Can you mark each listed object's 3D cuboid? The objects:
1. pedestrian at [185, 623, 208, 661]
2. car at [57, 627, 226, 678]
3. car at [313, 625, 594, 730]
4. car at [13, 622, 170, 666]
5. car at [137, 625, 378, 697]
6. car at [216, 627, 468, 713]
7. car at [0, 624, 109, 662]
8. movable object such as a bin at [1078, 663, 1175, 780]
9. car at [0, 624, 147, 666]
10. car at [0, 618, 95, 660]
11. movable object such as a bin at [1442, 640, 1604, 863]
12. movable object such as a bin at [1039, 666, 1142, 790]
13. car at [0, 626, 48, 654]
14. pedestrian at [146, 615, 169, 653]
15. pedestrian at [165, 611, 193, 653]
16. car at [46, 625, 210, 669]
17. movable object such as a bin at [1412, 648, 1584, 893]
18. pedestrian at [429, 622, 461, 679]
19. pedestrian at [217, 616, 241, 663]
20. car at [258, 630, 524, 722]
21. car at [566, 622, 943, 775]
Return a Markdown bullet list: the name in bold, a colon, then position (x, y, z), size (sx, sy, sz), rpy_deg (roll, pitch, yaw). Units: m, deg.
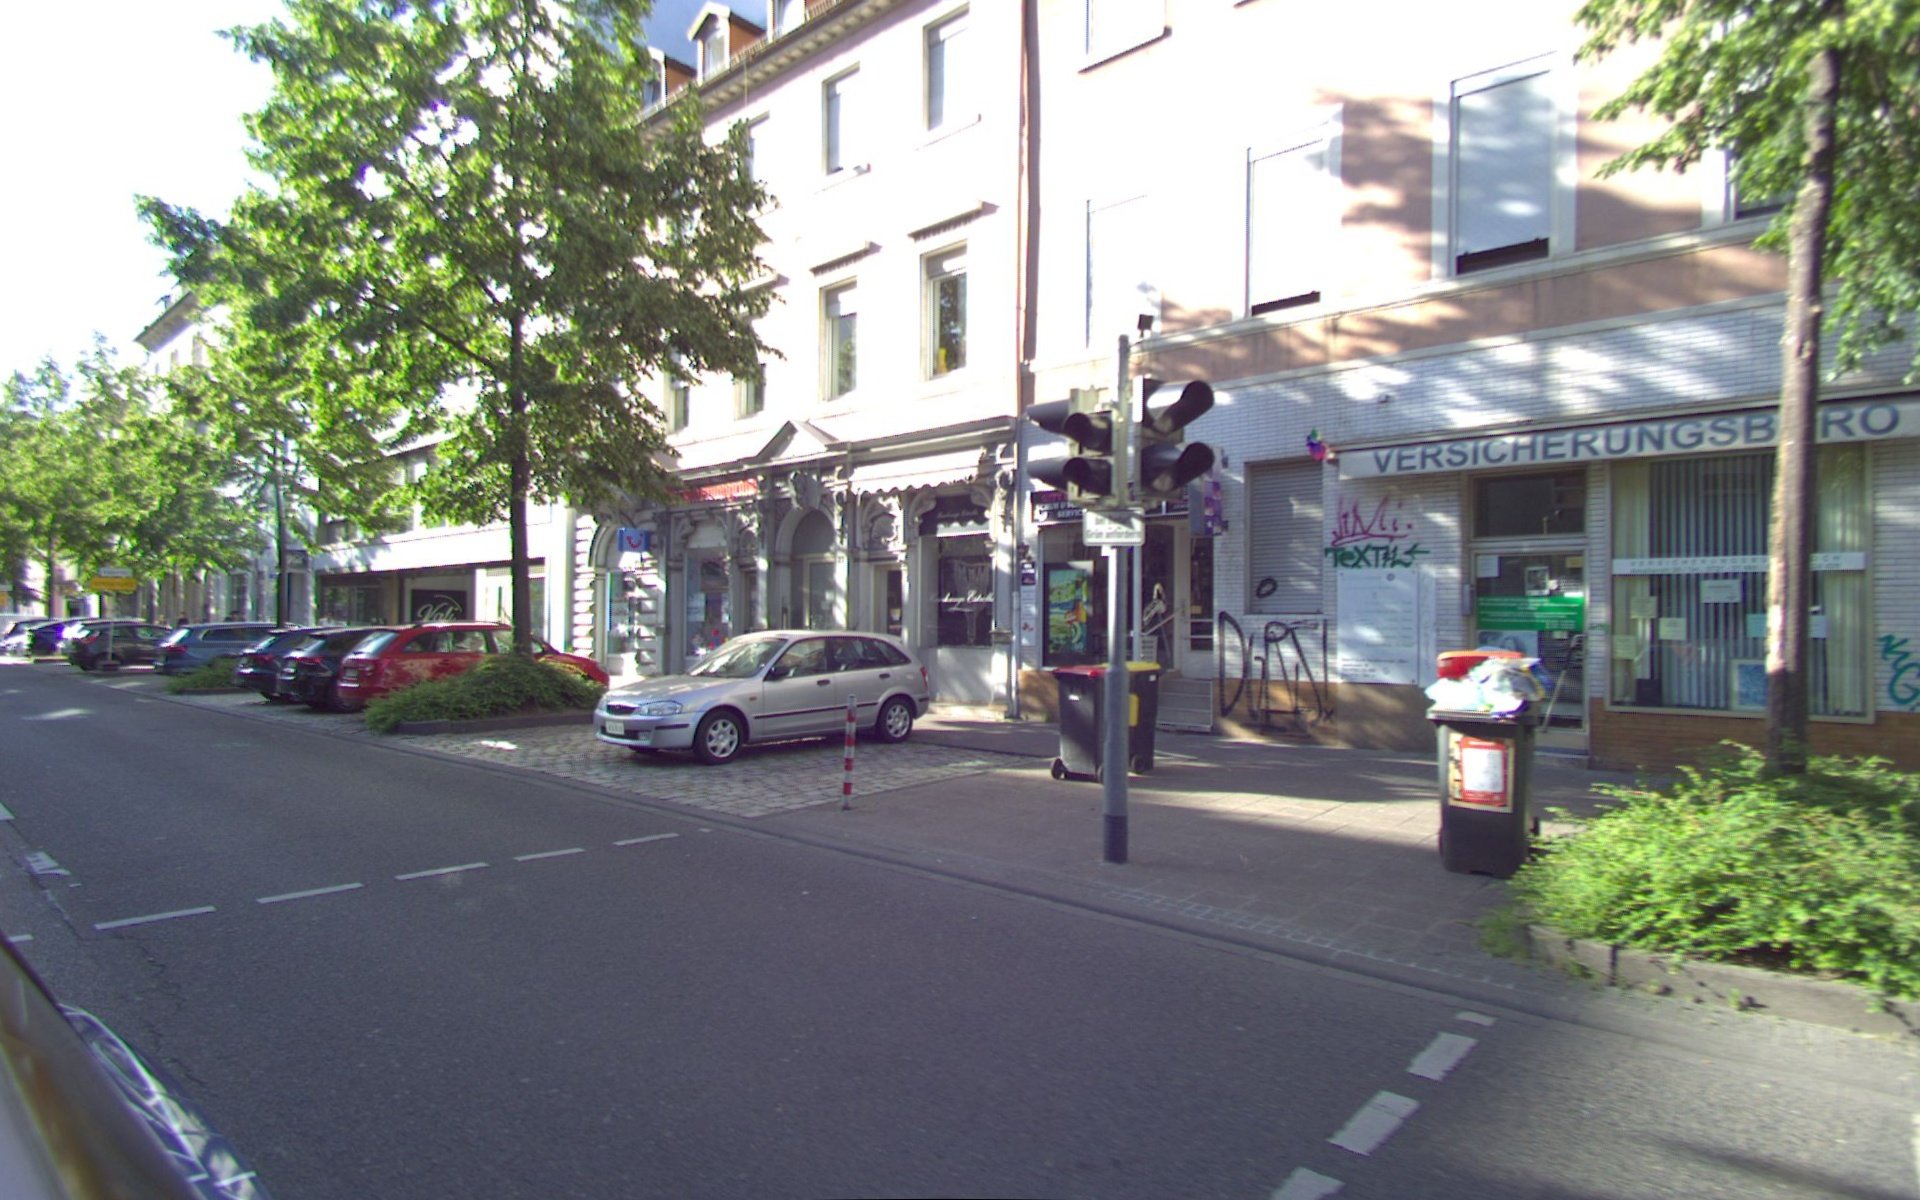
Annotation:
- **pedestrian**: position (-30.656, 1.672, 40.645), size (0.842, 1.505, 0.586), rpy_deg (-2, 0, 42)
- **car**: position (-25.121, 1.584, 31.164), size (1.778, 1.470, 3.744), rpy_deg (-2, -2, 37)
- **car**: position (-8.103, 1.160, 16.432), size (1.738, 1.479, 3.709), rpy_deg (-2, -2, 40)
- **car**: position (-33.381, 1.664, 38.984), size (1.979, 1.582, 4.320), rpy_deg (-2, -3, 41)
- **car**: position (-16.706, 1.383, 24.269), size (1.788, 1.470, 4.449), rpy_deg (-1, -1, 38)
- **car**: position (-11.977, 1.293, 19.790), size (1.770, 1.497, 3.877), rpy_deg (-2, -2, 42)
- **car**: position (-38.966, 1.823, 43.243), size (1.791, 1.570, 3.760), rpy_deg (-2, -2, 41)
- **movable object such as a bin**: position (1.651, 1.177, 10.048), size (0.804, 1.077, 0.526), rpy_deg (-1, -3, 40)
- **car**: position (-35.443, 1.779, 40.460), size (1.945, 1.582, 4.320), rpy_deg (-2, -3, 41)
- **car**: position (-42.362, 1.757, 46.236), size (2.037, 1.850, 4.062), rpy_deg (-2, -2, 41)
- **movable object such as a bin**: position (3.739, 0.946, 6.725), size (0.804, 1.351, 0.747), rpy_deg (-2, -3, 40)
- **movable object such as a bin**: position (1.218, 1.170, 9.470), size (0.804, 1.077, 0.526), rpy_deg (-1, -3, 40)
- **car**: position (-51.952, 2.172, 54.670), size (1.708, 1.475, 3.742), rpy_deg (-2, -2, 38)
- **pedestrian**: position (-35.210, 1.494, 44.398), size (0.726, 1.639, 0.560), rpy_deg (-1, 2, 39)
- **pedestrian**: position (-34.727, 1.415, 44.989), size (0.762, 1.779, 0.767), rpy_deg (-1, 2, 39)
- **car**: position (-29.735, 1.653, 36.290), size (1.977, 1.470, 4.205), rpy_deg (-2, -2, 37)
- **movable object such as a bin**: position (3.272, 0.974, 6.161), size (0.804, 1.351, 0.628), rpy_deg (-2, -3, 40)
- **pedestrian**: position (-12.999, 1.262, 25.537), size (0.502, 1.419, 0.825), rpy_deg (1, -2, -45)
- **pedestrian**: position (-28.311, 1.520, 39.178), size (0.690, 1.811, 0.747), rpy_deg (2, -3, -37)
- **car**: position (-10.094, 1.278, 18.145), size (1.789, 1.440, 3.799), rpy_deg (-2, -2, 42)
- **car**: position (-2.260, 1.013, 11.982), size (1.739, 1.479, 4.157), rpy_deg (-2, -2, 43)
